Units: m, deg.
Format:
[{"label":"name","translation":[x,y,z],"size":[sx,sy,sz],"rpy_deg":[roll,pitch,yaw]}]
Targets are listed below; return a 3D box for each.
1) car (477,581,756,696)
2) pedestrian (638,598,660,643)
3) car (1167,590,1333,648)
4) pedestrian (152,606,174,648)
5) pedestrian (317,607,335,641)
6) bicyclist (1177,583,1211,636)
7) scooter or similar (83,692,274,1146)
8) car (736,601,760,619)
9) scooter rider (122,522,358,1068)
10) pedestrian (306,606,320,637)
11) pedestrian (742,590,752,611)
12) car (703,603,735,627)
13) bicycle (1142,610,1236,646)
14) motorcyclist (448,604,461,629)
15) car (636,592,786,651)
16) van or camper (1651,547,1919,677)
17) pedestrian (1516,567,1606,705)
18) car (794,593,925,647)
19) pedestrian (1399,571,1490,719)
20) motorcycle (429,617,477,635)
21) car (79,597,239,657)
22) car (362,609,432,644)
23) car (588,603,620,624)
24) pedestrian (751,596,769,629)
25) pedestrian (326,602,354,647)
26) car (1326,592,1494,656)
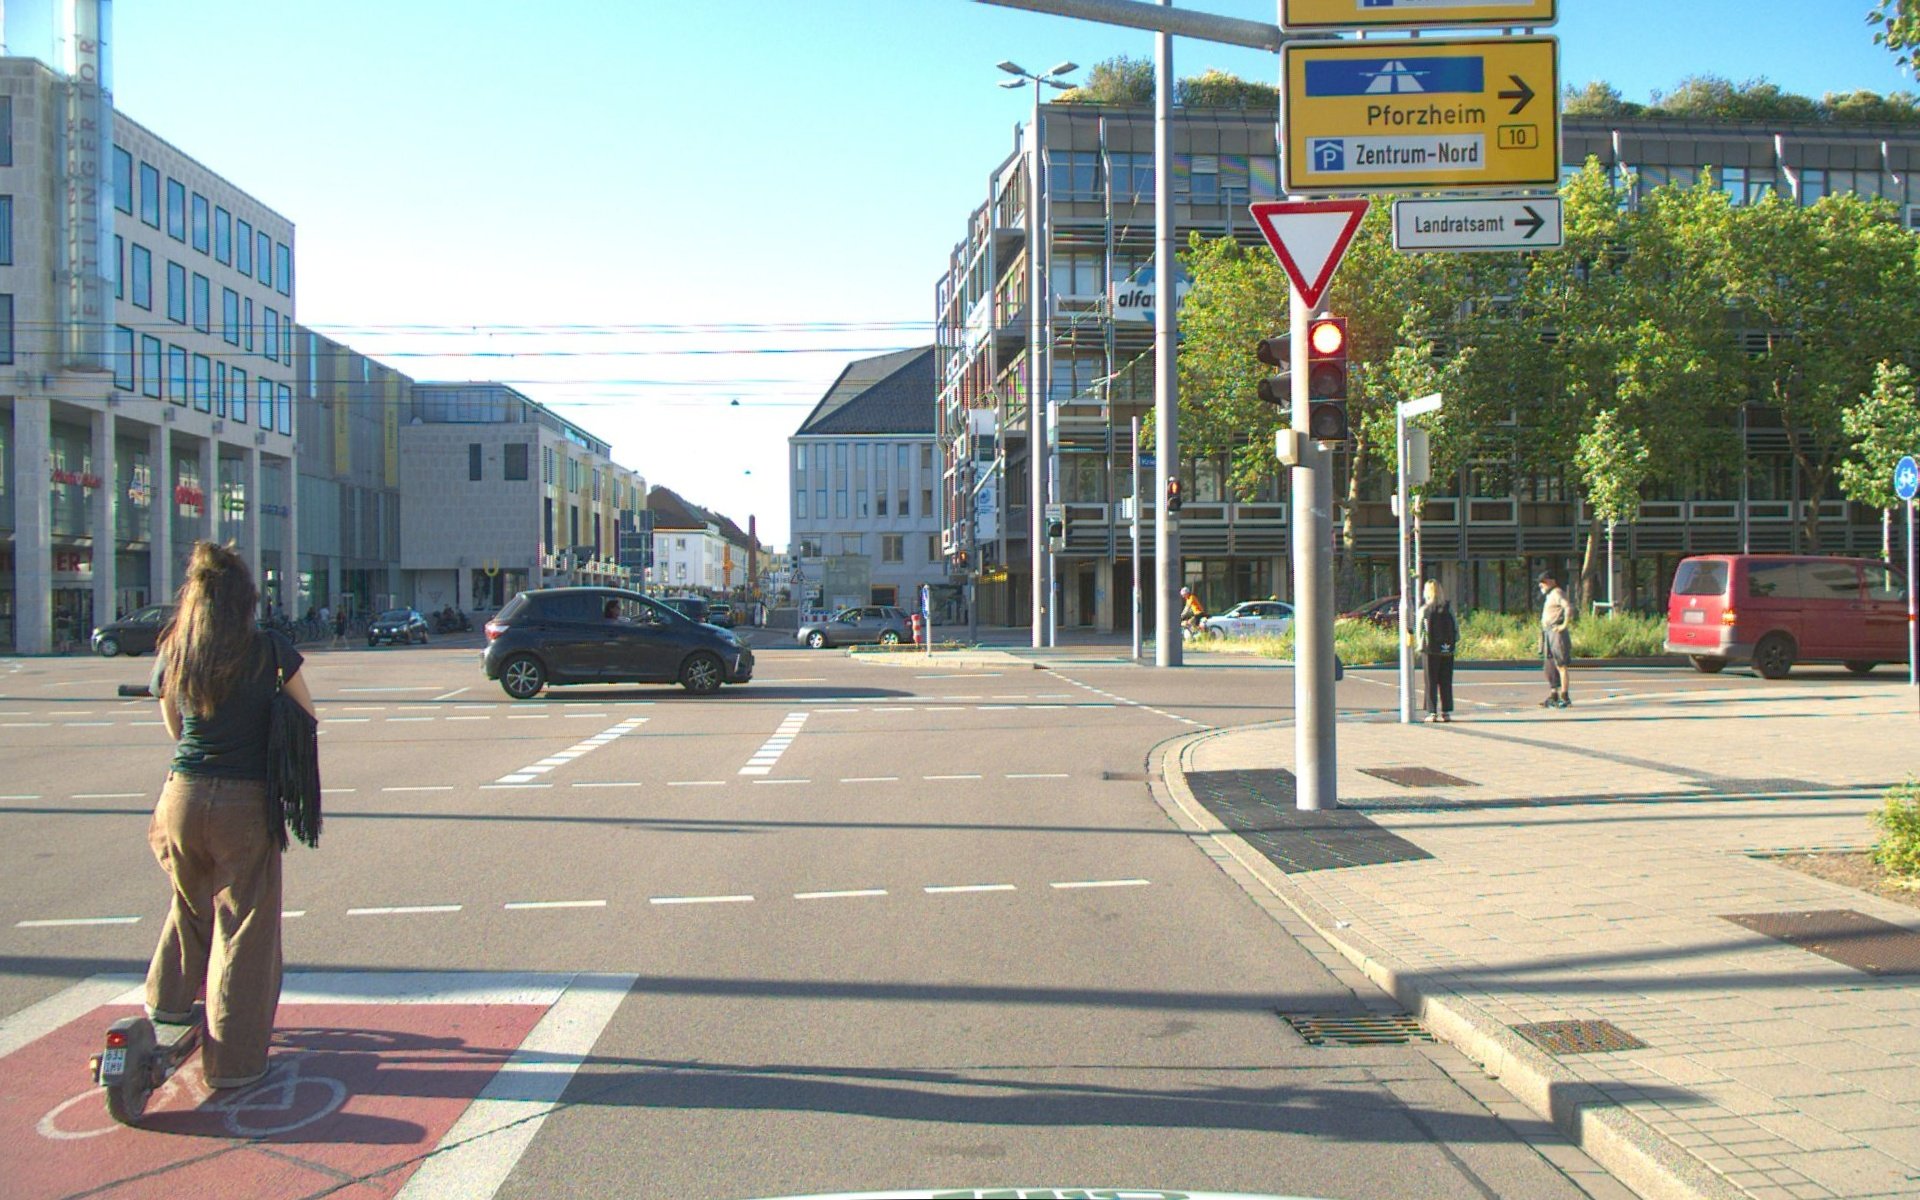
[{"label":"car","translation":[-4.938,0.516,23.780],"size":[3.797,1.536,1.665],"rpy_deg":[-1,0,-16]},{"label":"pedestrian","translation":[-11.865,0.772,63.146],"size":[0.685,1.718,0.619],"rpy_deg":[-1,0,0]},{"label":"car","translation":[8.948,0.571,51.208],"size":[4.749,1.713,1.824],"rpy_deg":[-1,0,-4]},{"label":"pedestrian","translation":[-32.501,1.091,67.448],"size":[0.580,1.674,0.629],"rpy_deg":[-1,0,-1]},{"label":"pedestrian","translation":[-33.348,1.260,86.985],"size":[0.462,1.759,0.692],"rpy_deg":[0,-1,37]},{"label":"bicyclist","translation":[6.676,0.277,47.216],"size":[0.806,1.500,0.652],"rpy_deg":[-1,0,-5]},{"label":"scooter or similar","translation":[-2.217,0.854,4.746],"size":[0.301,1.127,0.836],"rpy_deg":[-1,0,-12]},{"label":"car","translation":[-18.647,0.884,145.544],"size":[1.625,1.484,3.541],"rpy_deg":[-1,0,-1]},{"label":"scooter rider","translation":[-2.152,0.553,4.986],"size":[0.542,1.556,0.448],"rpy_deg":[-1,0,-9]},{"label":"pedestrian","translation":[-35.081,1.167,89.732],"size":[0.462,1.712,0.518],"rpy_deg":[0,-1,38]},{"label":"pedestrian","translation":[-21.149,0.048,164.355],"size":[0.892,1.999,0.822],"rpy_deg":[1,-1,-1]},{"label":"car","translation":[-15.696,0.961,107.817],"size":[1.625,1.484,3.541],"rpy_deg":[-1,0,-1]},{"label":"bicycle","translation":[6.526,0.795,47.196],"size":[2.517,0.992,1.047],"rpy_deg":[-1,0,-4]},{"label":"motorcyclist","translation":[-29.937,0.968,97.900],"size":[0.616,1.430,0.661],"rpy_deg":[1,-1,-9]},{"label":"car","translation":[-7.461,0.626,49.905],"size":[4.317,1.713,1.824],"rpy_deg":[-1,0,-4]},{"label":"van or camper","translation":[14.321,0.165,27.802],"size":[4.745,2.049,2.000],"rpy_deg":[-1,0,-14]},{"label":"pedestrian","translation":[7.721,0.452,21.275],"size":[0.854,1.736,0.768],"rpy_deg":[-1,0,-3]},{"label":"car","translation":[-3.274,0.643,54.189],"size":[3.902,1.713,1.827],"rpy_deg":[-1,0,13]},{"label":"pedestrian","translation":[5.552,0.501,18.983],"size":[0.750,1.642,0.874],"rpy_deg":[-1,0,-2]},{"label":"motorcycle","translation":[-29.908,1.511,97.627],"size":[2.555,1.010,1.113],"rpy_deg":[1,0,-10]},{"label":"car","translation":[-23.846,0.789,49.334],"size":[3.907,1.713,1.761],"rpy_deg":[-1,0,-2]},{"label":"car","translation":[-23.569,1.090,69.402],"size":[1.642,1.381,4.019],"rpy_deg":[-1,0,-2]},{"label":"car","translation":[-26.078,0.986,121.148],"size":[1.625,1.484,3.541],"rpy_deg":[-1,0,-1]},{"label":"pedestrian","translation":[-11.062,0.707,91.572],"size":[0.881,1.814,0.808],"rpy_deg":[0,0,-1]},{"label":"pedestrian","translation":[-23.509,0.927,62.705],"size":[0.760,1.667,0.626],"rpy_deg":[-1,0,6]},{"label":"car","translation":[12.681,0.644,46.658],"size":[4.212,1.713,1.820],"rpy_deg":[-1,0,-11]}]
